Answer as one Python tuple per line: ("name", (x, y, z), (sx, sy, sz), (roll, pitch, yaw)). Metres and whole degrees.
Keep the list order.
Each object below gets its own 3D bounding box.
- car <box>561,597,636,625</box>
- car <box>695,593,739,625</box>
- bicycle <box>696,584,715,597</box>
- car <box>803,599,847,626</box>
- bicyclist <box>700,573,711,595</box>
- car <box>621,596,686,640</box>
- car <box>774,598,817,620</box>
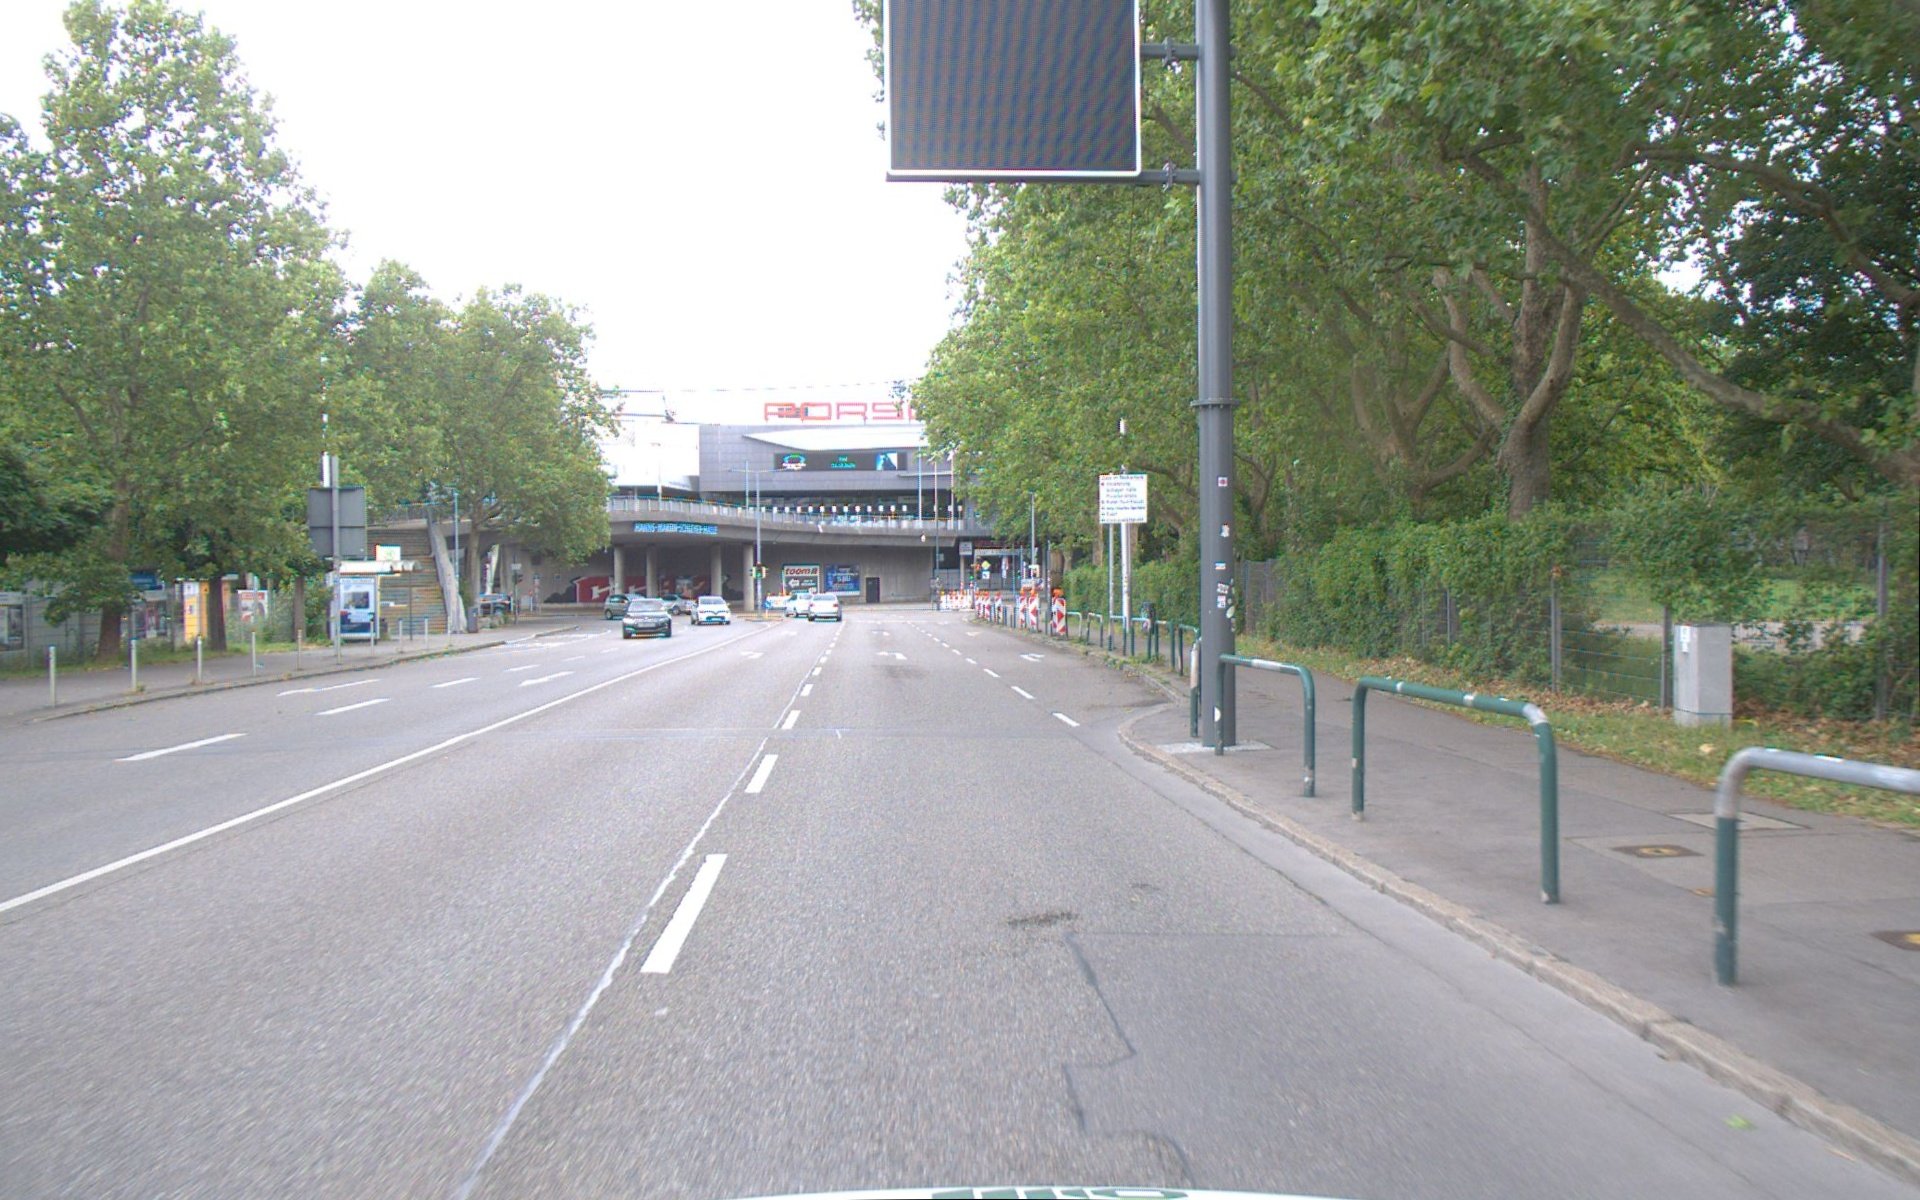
("car", (-22.210, 0.665, 101.773), (4.287, 1.557, 1.997), (-1, 0, -7))
("car", (-12.714, 0.449, 86.673), (1.954, 1.557, 4.381), (-1, 0, -5))
("bicycle", (-20.609, -0.803, 133.888), (1.504, 1.031, 0.516), (1, 0, -7))
("car", (-7.415, 0.660, 90.536), (1.958, 1.443, 3.988), (0, 0, -12))
("bicyclist", (-20.608, -1.270, 133.897), (0.835, 1.727, 0.766), (1, -1, -7))
("car", (-11.728, 0.652, 63.530), (1.954, 1.557, 4.721), (-2, 0, -5))
("car", (-10.184, 0.528, 102.198), (1.591, 1.336, 3.367), (0, 0, -26))
